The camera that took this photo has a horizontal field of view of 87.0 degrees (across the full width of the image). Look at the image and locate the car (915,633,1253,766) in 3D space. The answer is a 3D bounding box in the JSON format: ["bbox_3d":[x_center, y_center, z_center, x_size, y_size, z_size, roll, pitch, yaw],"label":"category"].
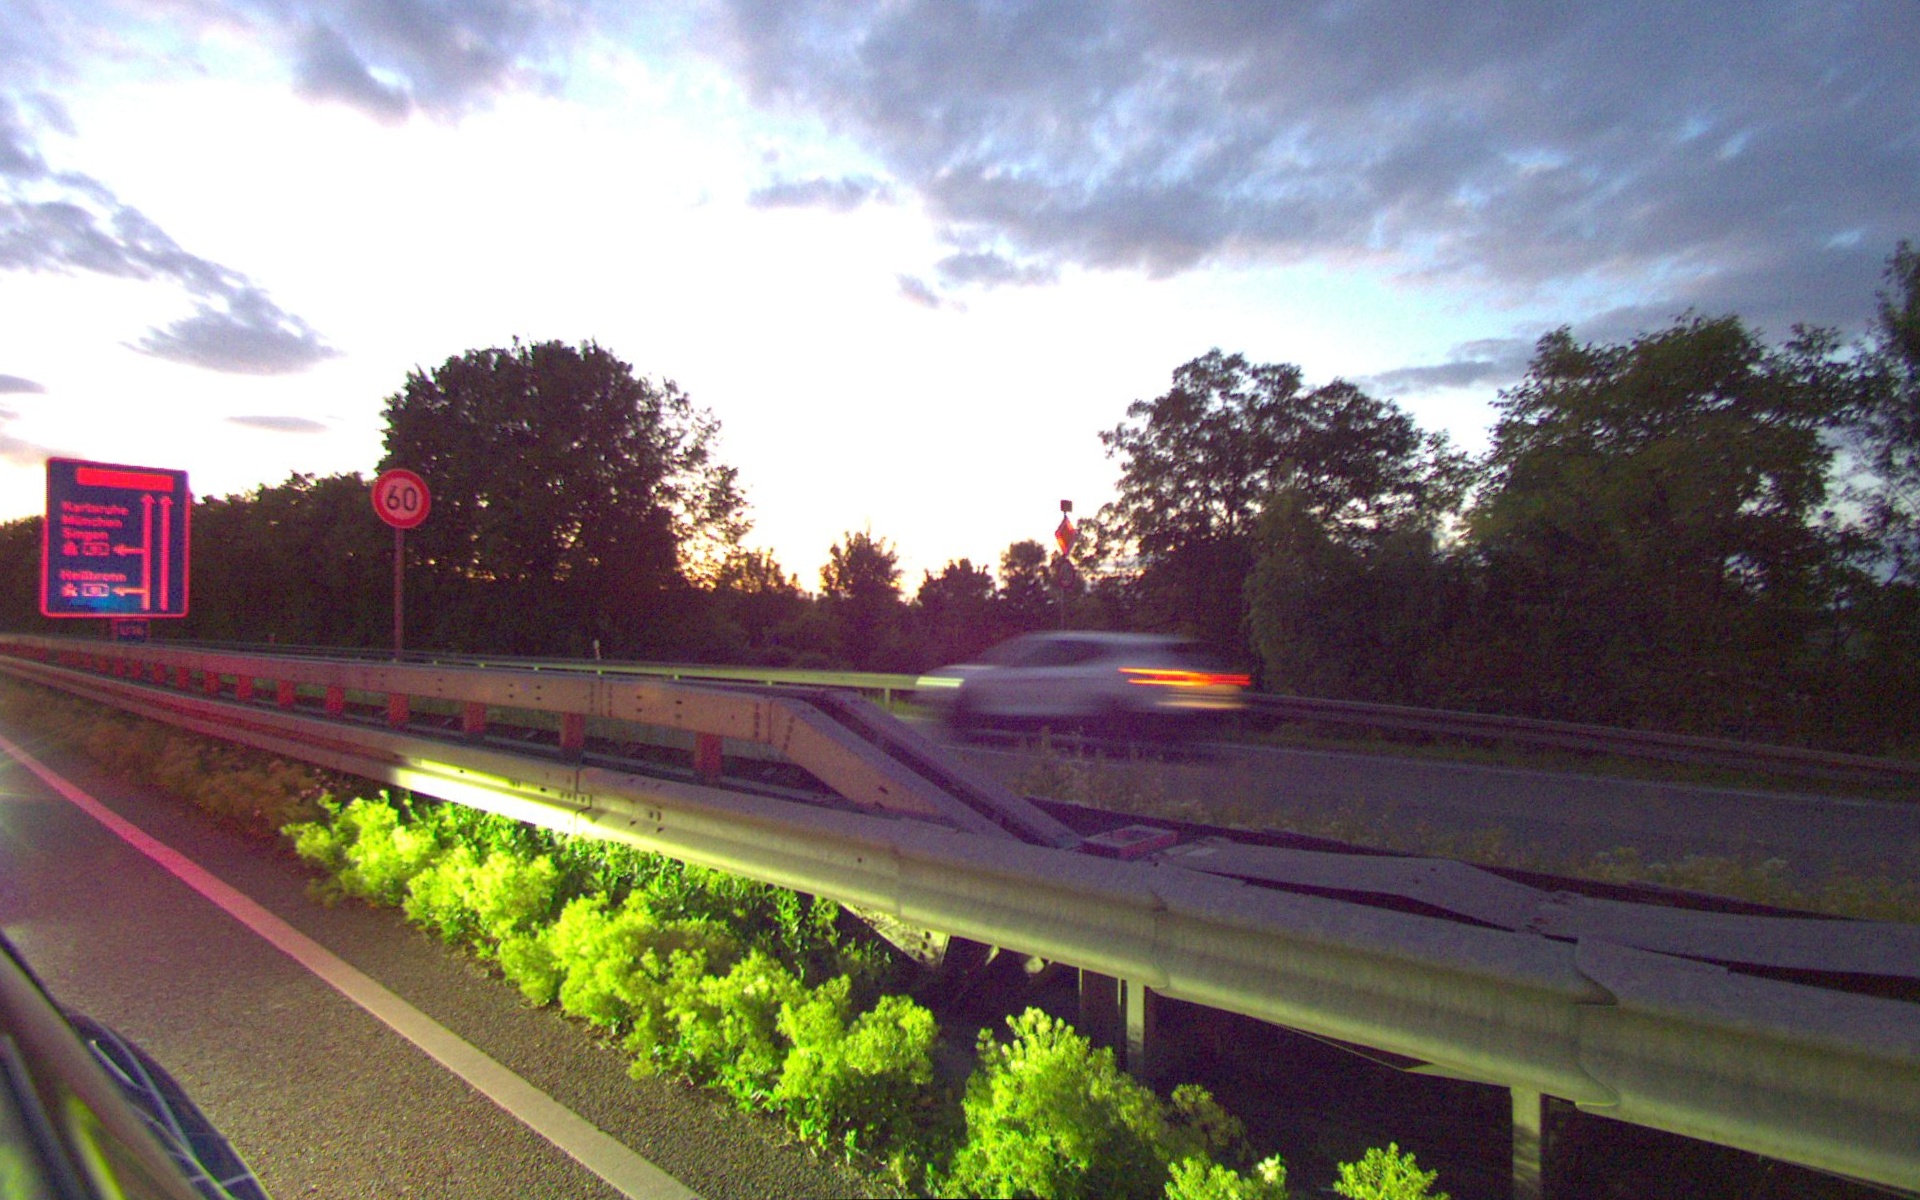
[{"bbox_3d":[1.603,1.235,14.024,4.295,1.530,1.973,-2,-2,41],"label":"car"}]

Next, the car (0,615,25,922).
[{"bbox_3d":[-6.929,0.861,5.739,4.511,1.492,1.877,-1,-1,40],"label":"car"}]
